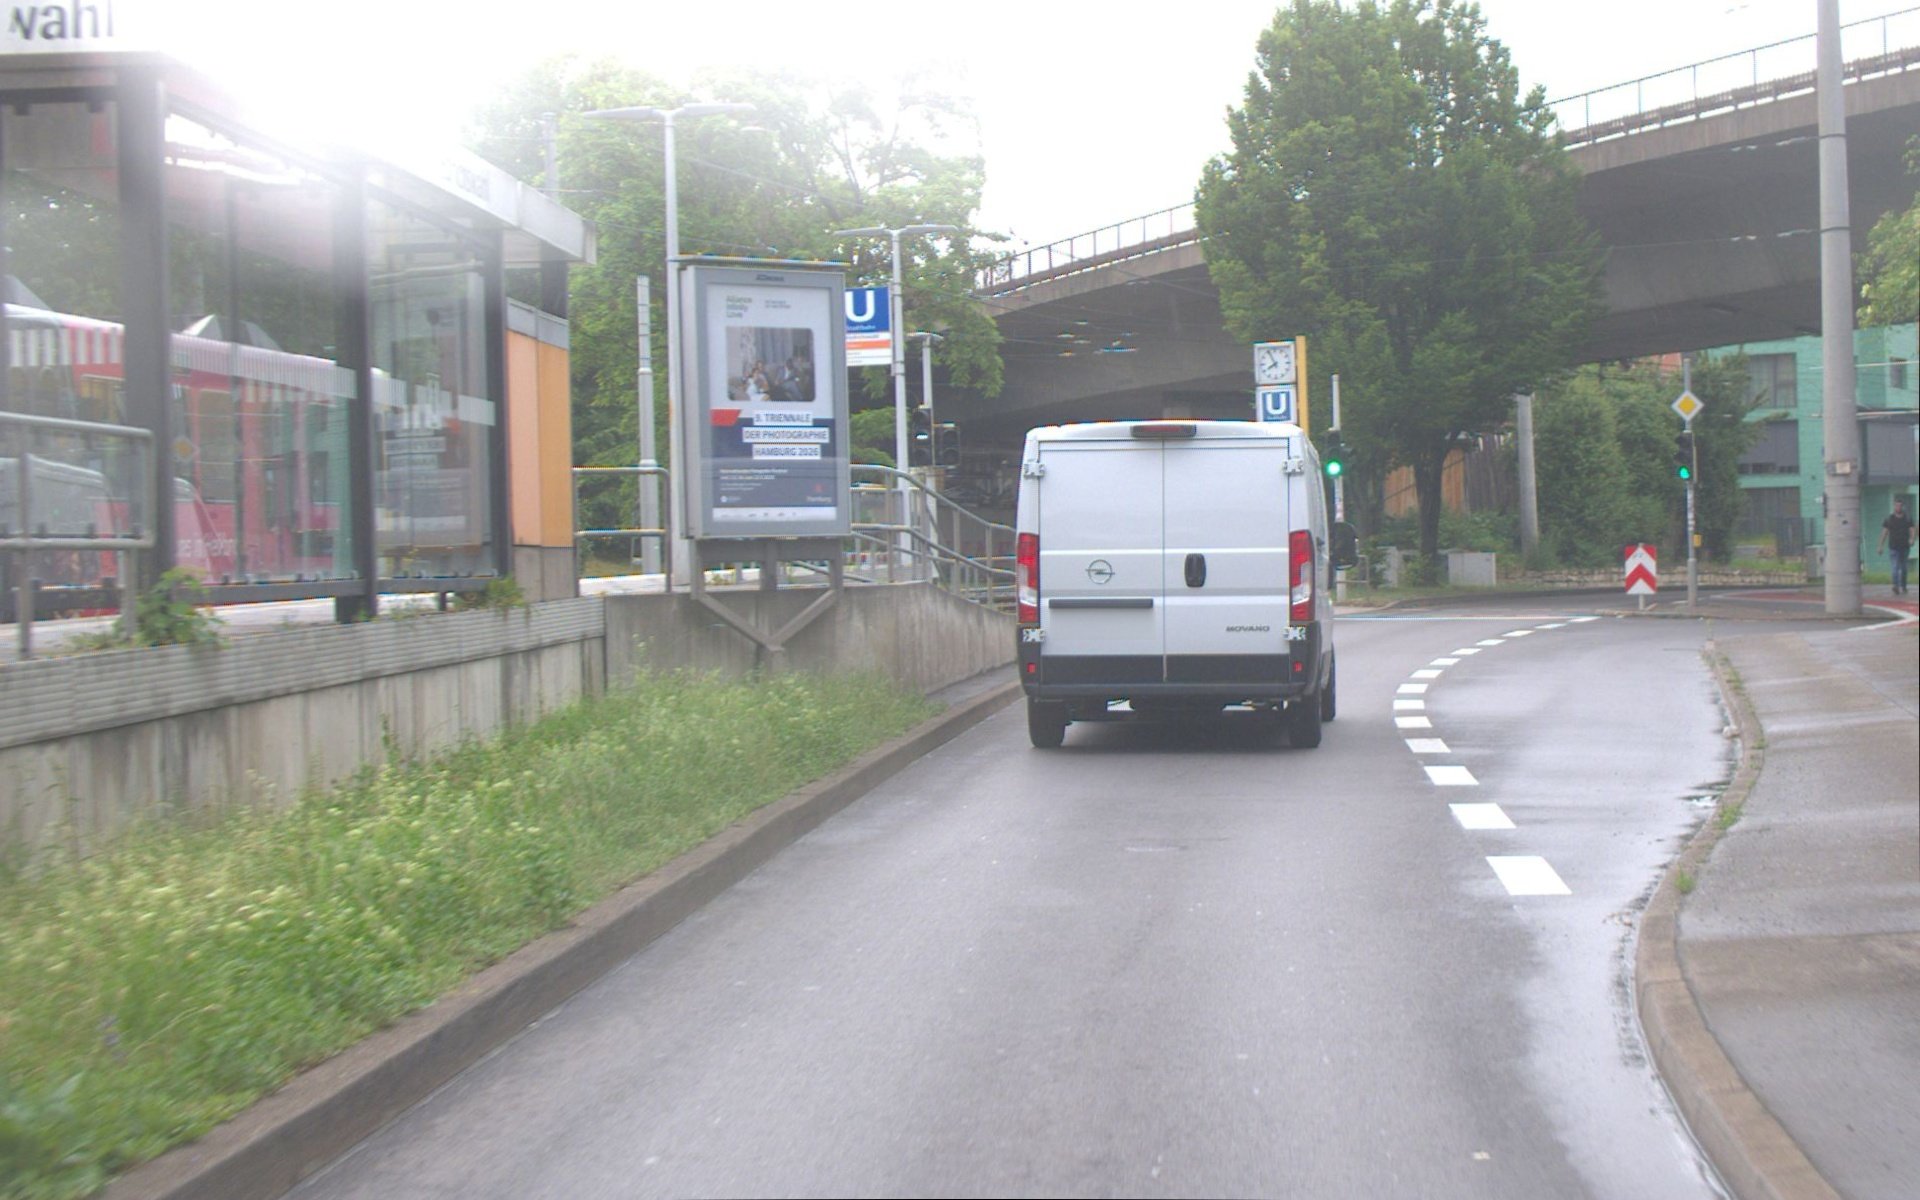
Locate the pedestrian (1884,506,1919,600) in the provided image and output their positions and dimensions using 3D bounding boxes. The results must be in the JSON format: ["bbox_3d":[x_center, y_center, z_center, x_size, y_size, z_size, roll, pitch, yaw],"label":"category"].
[{"bbox_3d":[18.309,-0.900,66.494,0.625,1.802,0.836,1,0,2],"label":"pedestrian"}]

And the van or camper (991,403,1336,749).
[{"bbox_3d":[1.595,-0.182,25.086,2.199,2.245,4.683,1,1,7],"label":"van or camper"}]

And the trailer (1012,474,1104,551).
[{"bbox_3d":[3.555,-3.154,125.063,1.993,2.716,4.124,0,0,-19],"label":"trailer"}]

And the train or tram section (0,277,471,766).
[{"bbox_3d":[-8.586,-0.702,33.837,2.868,3.947,19.327,1,1,6],"label":"train or tram section"}]
